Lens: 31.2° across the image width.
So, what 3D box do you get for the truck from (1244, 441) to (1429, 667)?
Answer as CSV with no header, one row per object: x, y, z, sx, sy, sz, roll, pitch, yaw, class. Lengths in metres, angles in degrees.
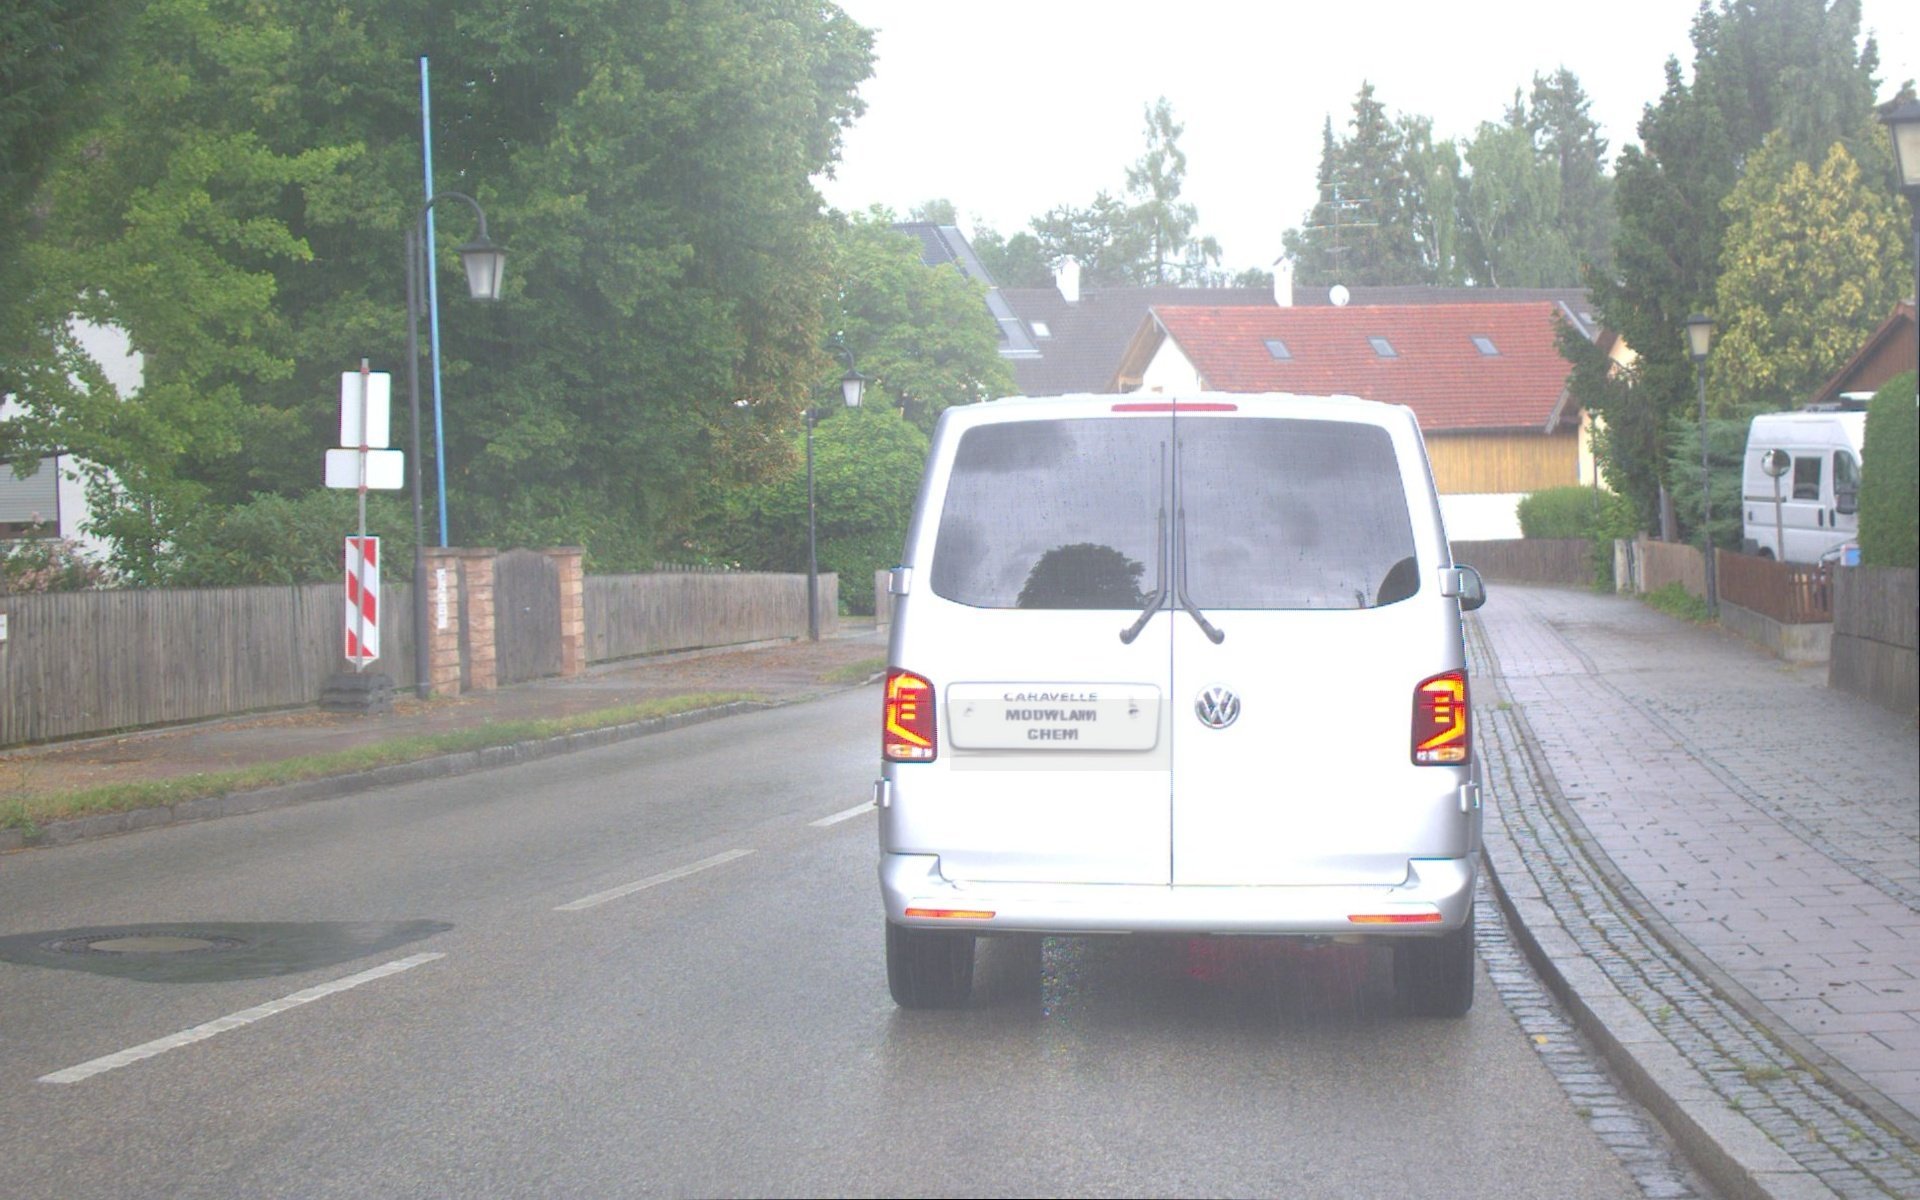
5.544,-0.651,50.211,2.476,3.063,6.294,1,0,7,truck

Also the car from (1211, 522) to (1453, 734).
3.068,0.198,28.077,1.801,1.583,3.999,1,0,7,car

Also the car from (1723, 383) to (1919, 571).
11.288,-1.462,42.844,1.993,2.166,4.954,1,0,-6,car

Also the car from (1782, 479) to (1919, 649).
11.154,-0.440,37.312,4.094,1.745,1.694,-1,3,4,car

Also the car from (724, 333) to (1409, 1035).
0.550,0.221,11.971,1.801,2.007,3.998,1,0,10,car

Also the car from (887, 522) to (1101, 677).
0.450,-0.019,39.068,1.784,1.657,4.444,0,0,9,car
